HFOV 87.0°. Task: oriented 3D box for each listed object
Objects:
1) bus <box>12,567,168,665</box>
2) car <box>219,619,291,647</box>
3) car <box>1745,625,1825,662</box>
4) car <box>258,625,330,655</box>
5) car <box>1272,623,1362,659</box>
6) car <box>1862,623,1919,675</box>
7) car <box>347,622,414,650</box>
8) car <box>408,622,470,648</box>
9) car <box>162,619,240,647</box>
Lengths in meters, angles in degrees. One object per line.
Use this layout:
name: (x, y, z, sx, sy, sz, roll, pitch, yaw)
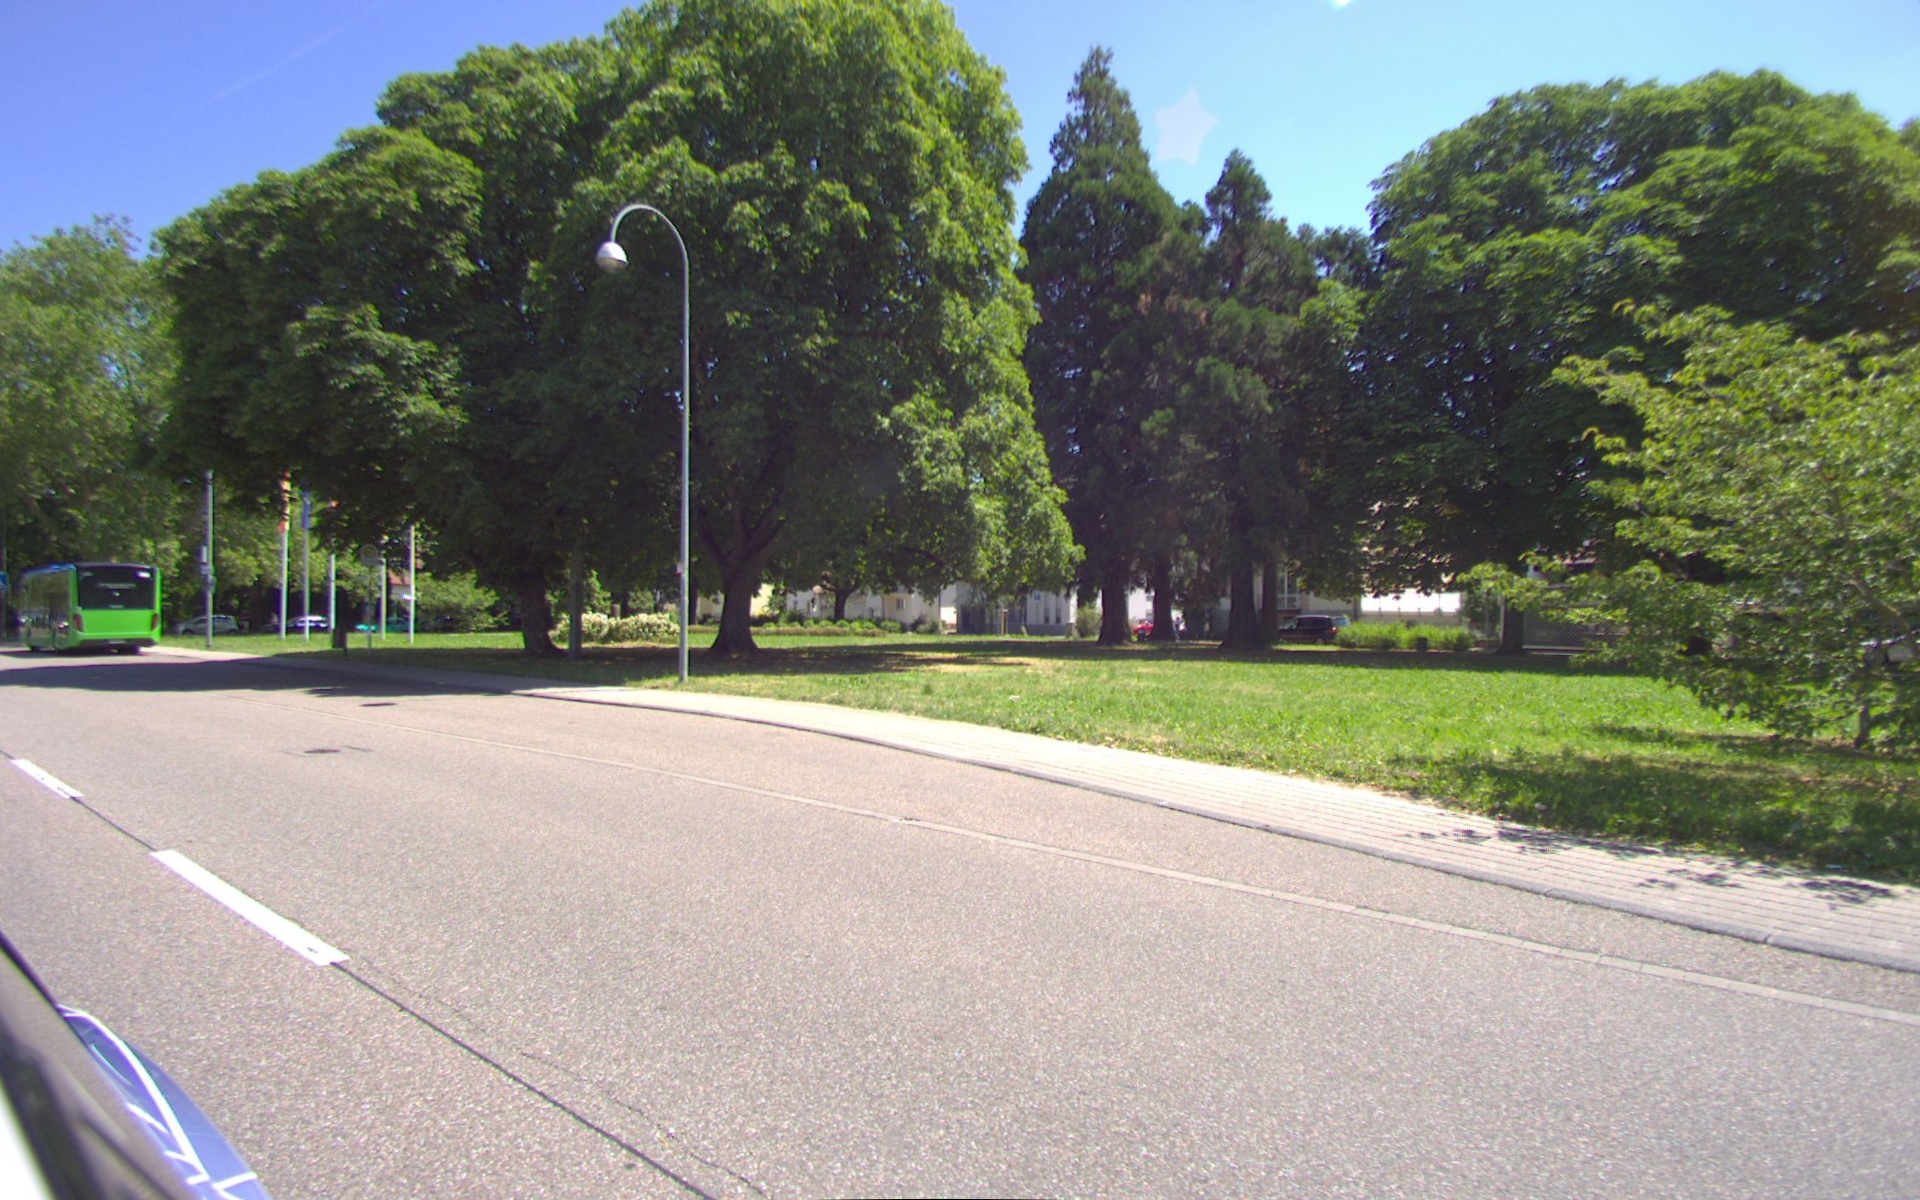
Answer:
bus: (-33.881, 0.650, 39.166, 11.849, 3.328, 2.778, -1, -2, 41)
car: (-52.313, 2.427, 75.201, 3.933, 2.029, 2.005, 0, -1, -13)
car: (37.905, 1.978, 46.453, 3.935, 1.597, 2.004, 1, -2, -38)
car: (-47.527, 2.809, 72.220, 2.000, 2.029, 3.943, -1, -2, 43)
car: (18.489, 2.103, 52.531, 1.967, 1.792, 4.009, 1, -1, -36)
car: (34.988, 1.728, 35.607, 1.967, 1.792, 4.517, 1, -1, -35)
car: (-43.929, 2.713, 76.788, 1.999, 2.029, 3.946, -1, -2, 40)
car: (-41.236, 2.741, 80.151, 1.999, 2.029, 3.946, -1, -2, 40)
car: (-51.364, 2.223, 68.527, 2.000, 1.817, 3.943, -1, -2, 43)
